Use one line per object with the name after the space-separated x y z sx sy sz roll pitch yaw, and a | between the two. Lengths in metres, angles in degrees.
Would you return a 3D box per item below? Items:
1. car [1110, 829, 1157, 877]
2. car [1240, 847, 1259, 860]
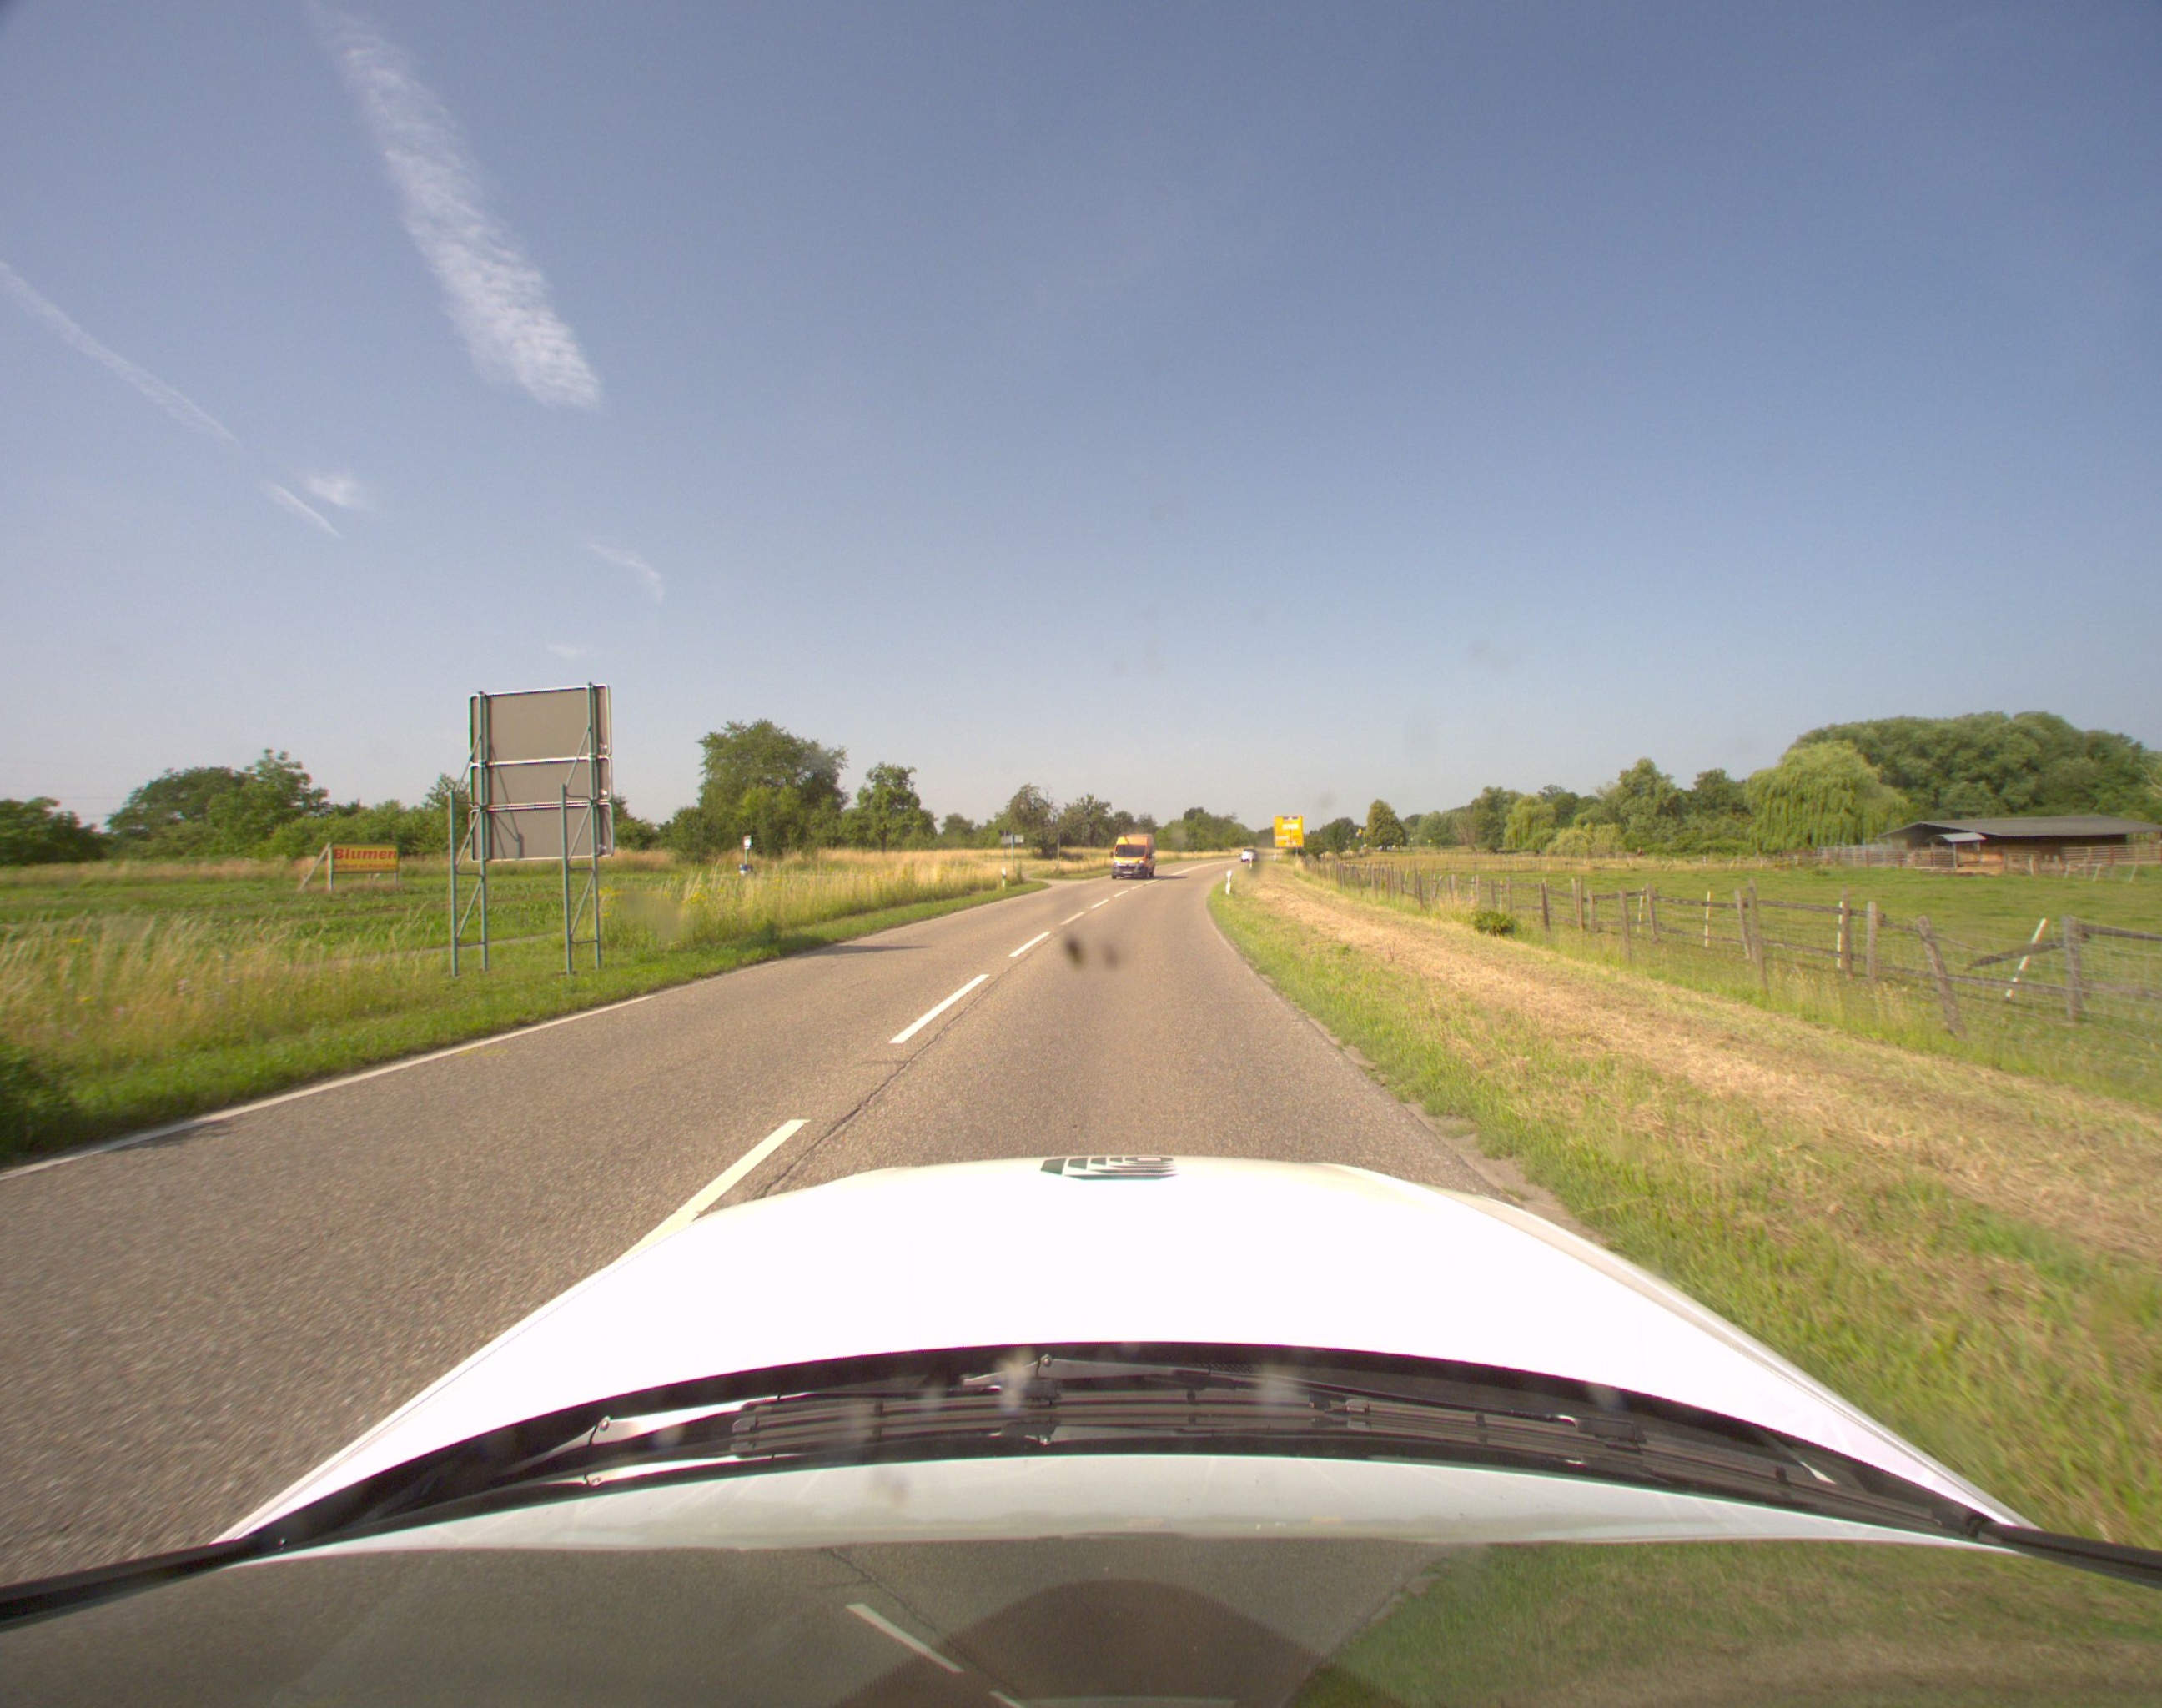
3.182 -0.064 48.324 2.110 2.696 5.283 0 0 10 | car
19.588 -0.100 94.788 1.885 1.512 4.017 0 0 16 | car
